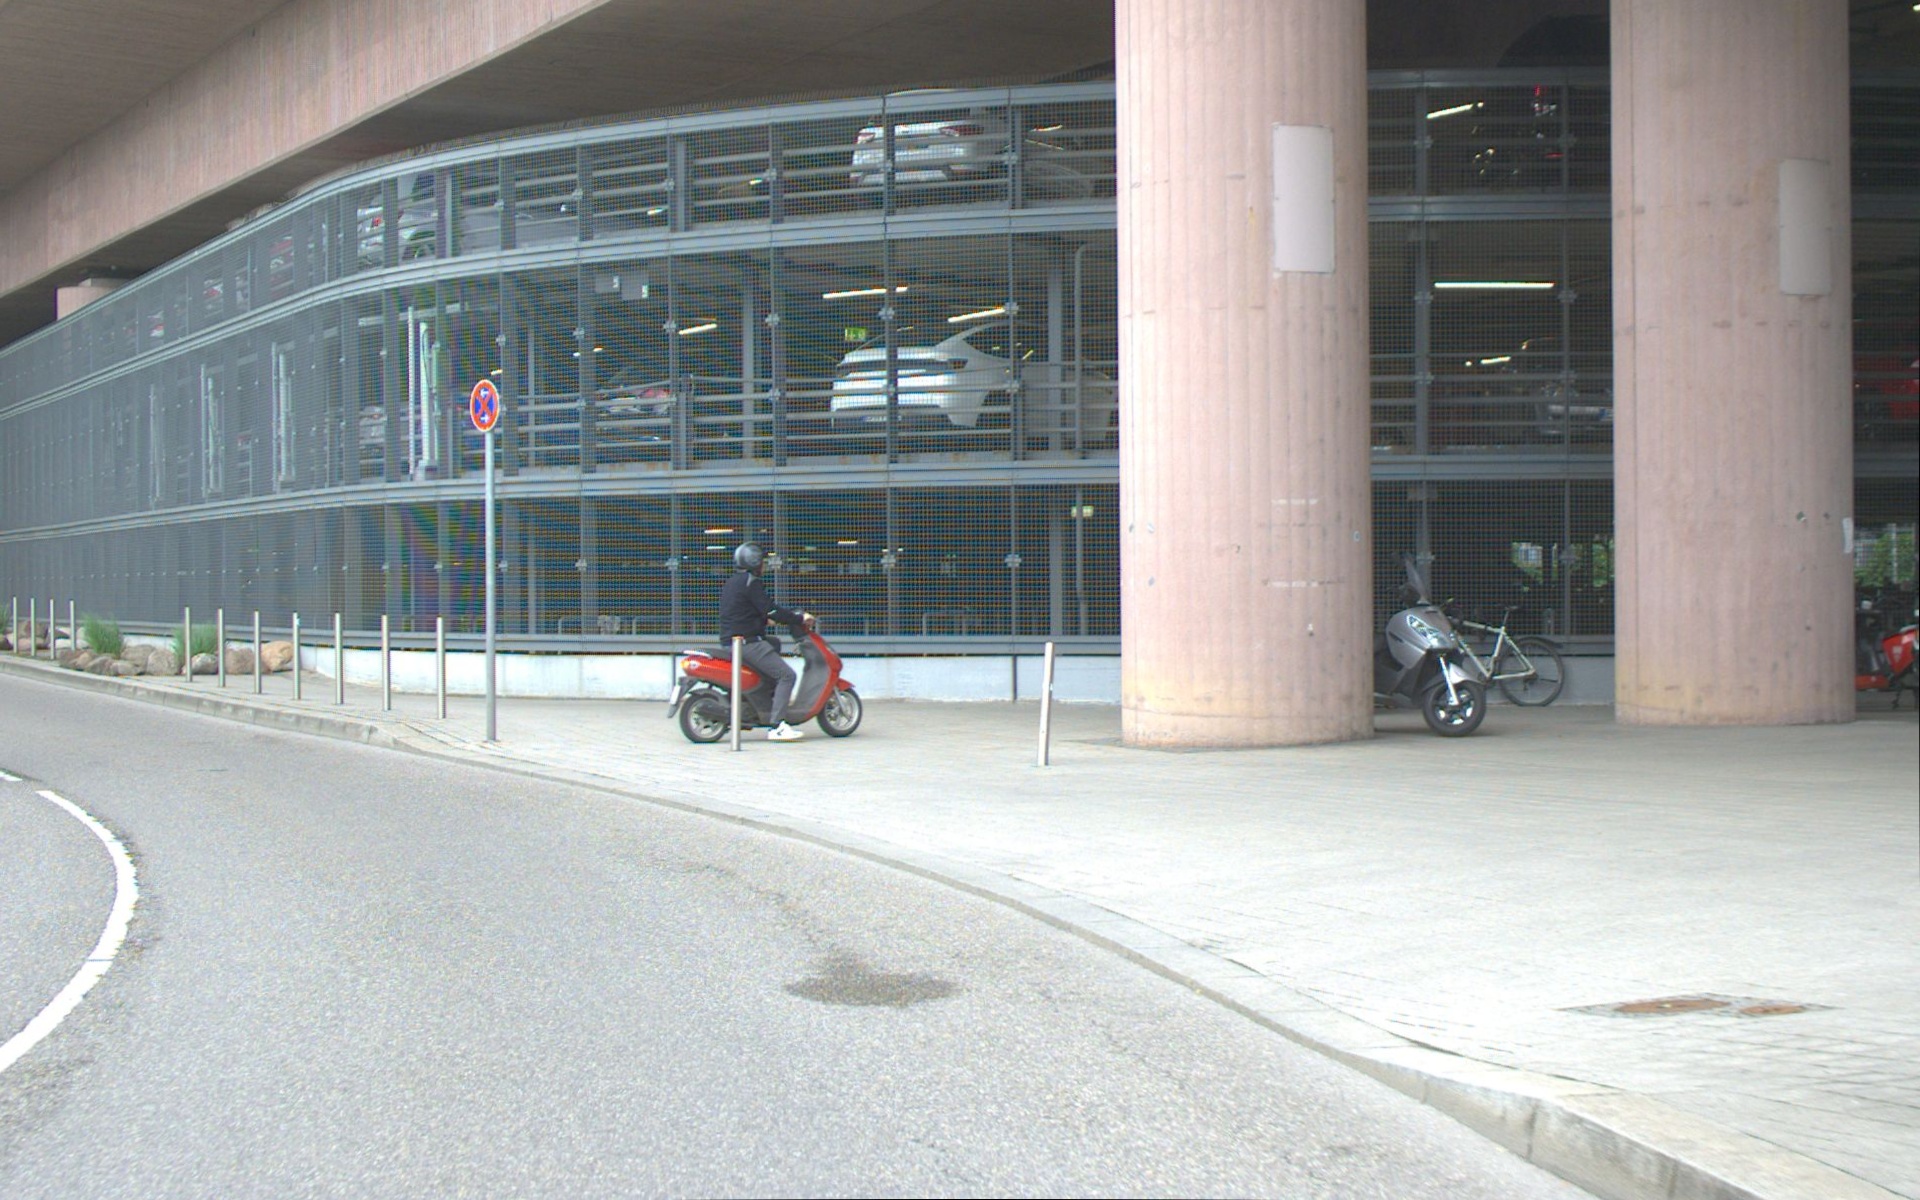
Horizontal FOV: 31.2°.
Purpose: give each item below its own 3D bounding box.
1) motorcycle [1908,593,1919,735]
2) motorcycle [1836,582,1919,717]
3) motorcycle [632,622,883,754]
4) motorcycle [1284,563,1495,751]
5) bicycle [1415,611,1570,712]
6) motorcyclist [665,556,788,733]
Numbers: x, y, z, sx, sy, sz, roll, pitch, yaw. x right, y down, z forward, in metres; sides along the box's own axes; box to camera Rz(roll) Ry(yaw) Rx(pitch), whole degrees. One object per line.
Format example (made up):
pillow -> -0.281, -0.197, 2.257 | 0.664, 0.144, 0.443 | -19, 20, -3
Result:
motorcycle -> 8.221, 0.536, 28.749 | 0.520, 1.167, 1.149 | 0, -1, 13
motorcycle -> 8.722, 0.457, 32.473 | 0.520, 1.216, 1.150 | 0, 2, -5
motorcycle -> -1.685, 0.718, 28.544 | 1.949, 1.019, 0.749 | -1, 2, -17
motorcycle -> 3.494, 0.443, 28.071 | 0.642, 1.450, 1.762 | -2, 2, -39
bicycle -> 5.273, 0.609, 34.092 | 1.472, 0.973, 0.452 | 0, 2, 3
motorcyclist -> -1.938, 0.355, 28.464 | 0.867, 1.414, 0.764 | -1, 2, -16
